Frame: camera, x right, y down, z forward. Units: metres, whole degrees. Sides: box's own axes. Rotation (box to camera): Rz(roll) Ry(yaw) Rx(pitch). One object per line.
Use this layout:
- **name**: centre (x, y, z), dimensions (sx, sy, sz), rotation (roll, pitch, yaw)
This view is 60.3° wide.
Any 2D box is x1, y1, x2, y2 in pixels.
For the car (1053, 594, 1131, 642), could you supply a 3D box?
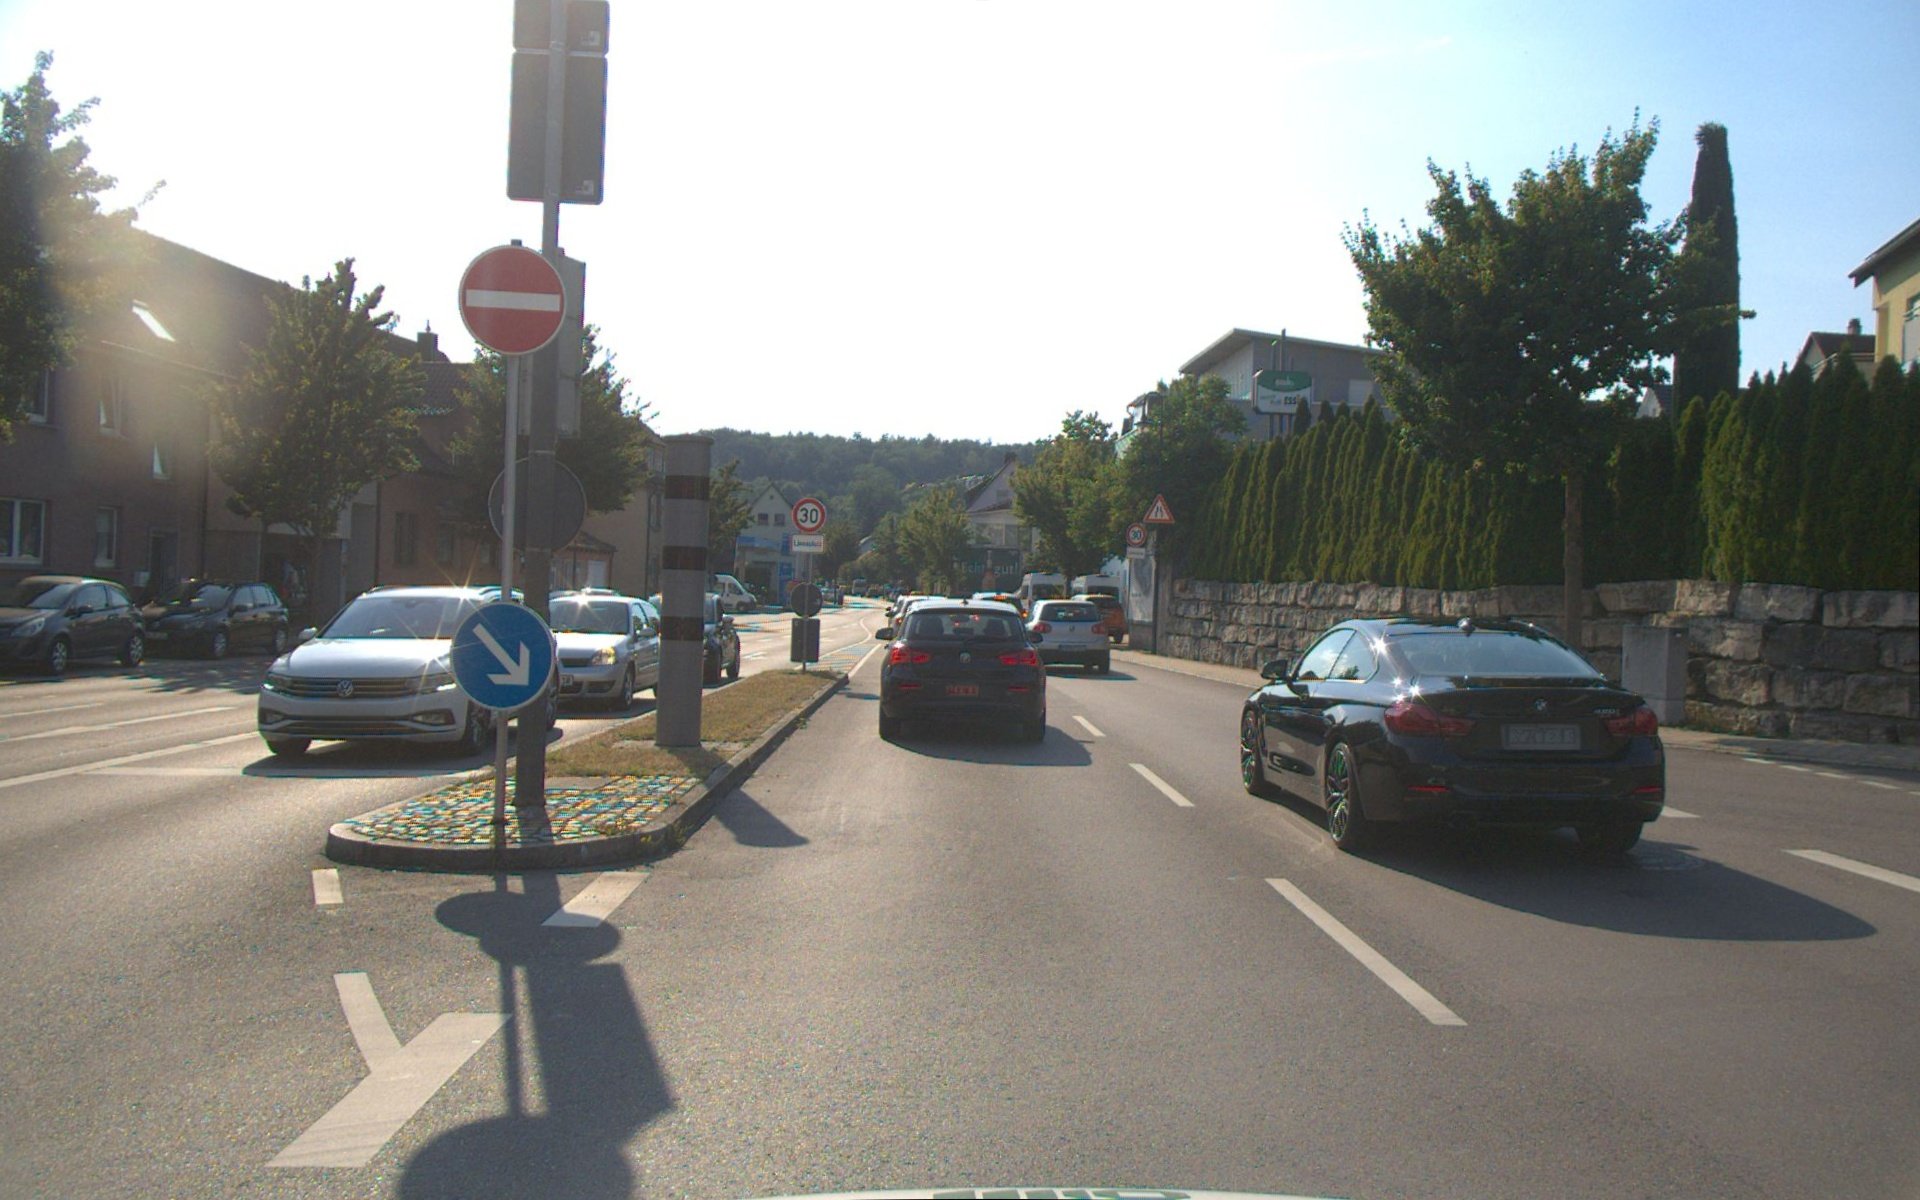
- **car**: centre (4.829, 0.633, 61.077), dimensions (1.800, 1.678, 4.528), rotation (1, 0, -9)

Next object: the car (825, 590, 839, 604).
- **car**: centre (-14.833, -0.348, 191.565), dimensions (1.565, 1.511, 3.472), rotation (2, 0, -4)

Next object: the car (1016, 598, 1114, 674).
- **car**: centre (2.142, 0.713, 34.565), dimensions (1.718, 1.438, 3.421), rotation (1, 0, -2)

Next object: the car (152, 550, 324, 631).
- **car**: centre (-19.352, -0.244, 44.451), dimensions (3.743, 1.914, 1.779), rotation (3, 0, 1)

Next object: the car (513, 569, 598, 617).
- **car**: centre (-14.013, -0.229, 57.502), dimensions (1.631, 1.513, 4.002), rotation (4, 0, 4)

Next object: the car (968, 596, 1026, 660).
- **car**: centre (1.068, 0.801, 49.128), dimensions (1.570, 1.798, 3.410), rotation (1, 0, 0)

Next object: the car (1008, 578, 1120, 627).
- **car**: centre (5.699, 0.142, 91.102), dimensions (5.926, 2.560, 2.042), rotation (1, 0, -5)

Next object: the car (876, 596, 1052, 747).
- **car**: centre (-0.004, 0.700, 18.040), dimensions (1.736, 1.482, 3.514), rotation (0, 0, -2)

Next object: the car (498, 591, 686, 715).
- **car**: centre (-4.710, 0.642, 21.638), dimensions (1.556, 1.452, 3.578), rotation (1, 0, 1)

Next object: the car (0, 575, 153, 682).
- **car**: centre (-14.730, 0.411, 26.761), dimensions (1.481, 1.536, 3.884), rotation (3, 0, -2)

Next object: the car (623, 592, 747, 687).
- **car**: centre (-4.657, 0.622, 28.375), dimensions (1.501, 1.487, 3.506), rotation (1, 0, 0)

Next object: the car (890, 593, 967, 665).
- **car**: centre (-0.819, 0.670, 40.739), dimensions (1.561, 1.628, 3.889), rotation (1, 0, -6)

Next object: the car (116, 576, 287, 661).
- **car**: centre (-14.794, 0.324, 32.511), dimensions (1.586, 1.537, 4.131), rotation (1, 0, -3)

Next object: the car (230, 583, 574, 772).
- **car**: centre (-5.108, 0.615, 15.852), dimensions (1.798, 1.514, 4.565), rotation (1, 0, -1)

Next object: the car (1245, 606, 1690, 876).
- **car**: centre (3.129, 0.778, 11.130), dimensions (1.665, 1.393, 4.262), rotation (1, 1, 0)

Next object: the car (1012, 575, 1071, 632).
- **car**: centre (4.033, 0.146, 83.095), dimensions (2.107, 2.727, 6.598), rotation (1, 0, -4)

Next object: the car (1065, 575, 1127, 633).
- **car**: centre (6.801, 0.185, 83.354), dimensions (2.070, 2.769, 6.437), rotation (1, 0, -4)

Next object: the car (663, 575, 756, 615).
- **car**: centre (-17.154, -0.329, 113.429), dimensions (6.035, 2.487, 2.248), rotation (2, 0, -3)

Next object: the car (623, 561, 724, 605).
- **car**: centre (-17.874, -1.080, 103.389), dimensions (5.797, 2.523, 2.194), rotation (2, 1, 1)

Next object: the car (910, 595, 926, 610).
- **car**: centre (-4.612, 0.294, 179.694), dimensions (1.565, 1.511, 3.472), rotation (2, 0, -4)
